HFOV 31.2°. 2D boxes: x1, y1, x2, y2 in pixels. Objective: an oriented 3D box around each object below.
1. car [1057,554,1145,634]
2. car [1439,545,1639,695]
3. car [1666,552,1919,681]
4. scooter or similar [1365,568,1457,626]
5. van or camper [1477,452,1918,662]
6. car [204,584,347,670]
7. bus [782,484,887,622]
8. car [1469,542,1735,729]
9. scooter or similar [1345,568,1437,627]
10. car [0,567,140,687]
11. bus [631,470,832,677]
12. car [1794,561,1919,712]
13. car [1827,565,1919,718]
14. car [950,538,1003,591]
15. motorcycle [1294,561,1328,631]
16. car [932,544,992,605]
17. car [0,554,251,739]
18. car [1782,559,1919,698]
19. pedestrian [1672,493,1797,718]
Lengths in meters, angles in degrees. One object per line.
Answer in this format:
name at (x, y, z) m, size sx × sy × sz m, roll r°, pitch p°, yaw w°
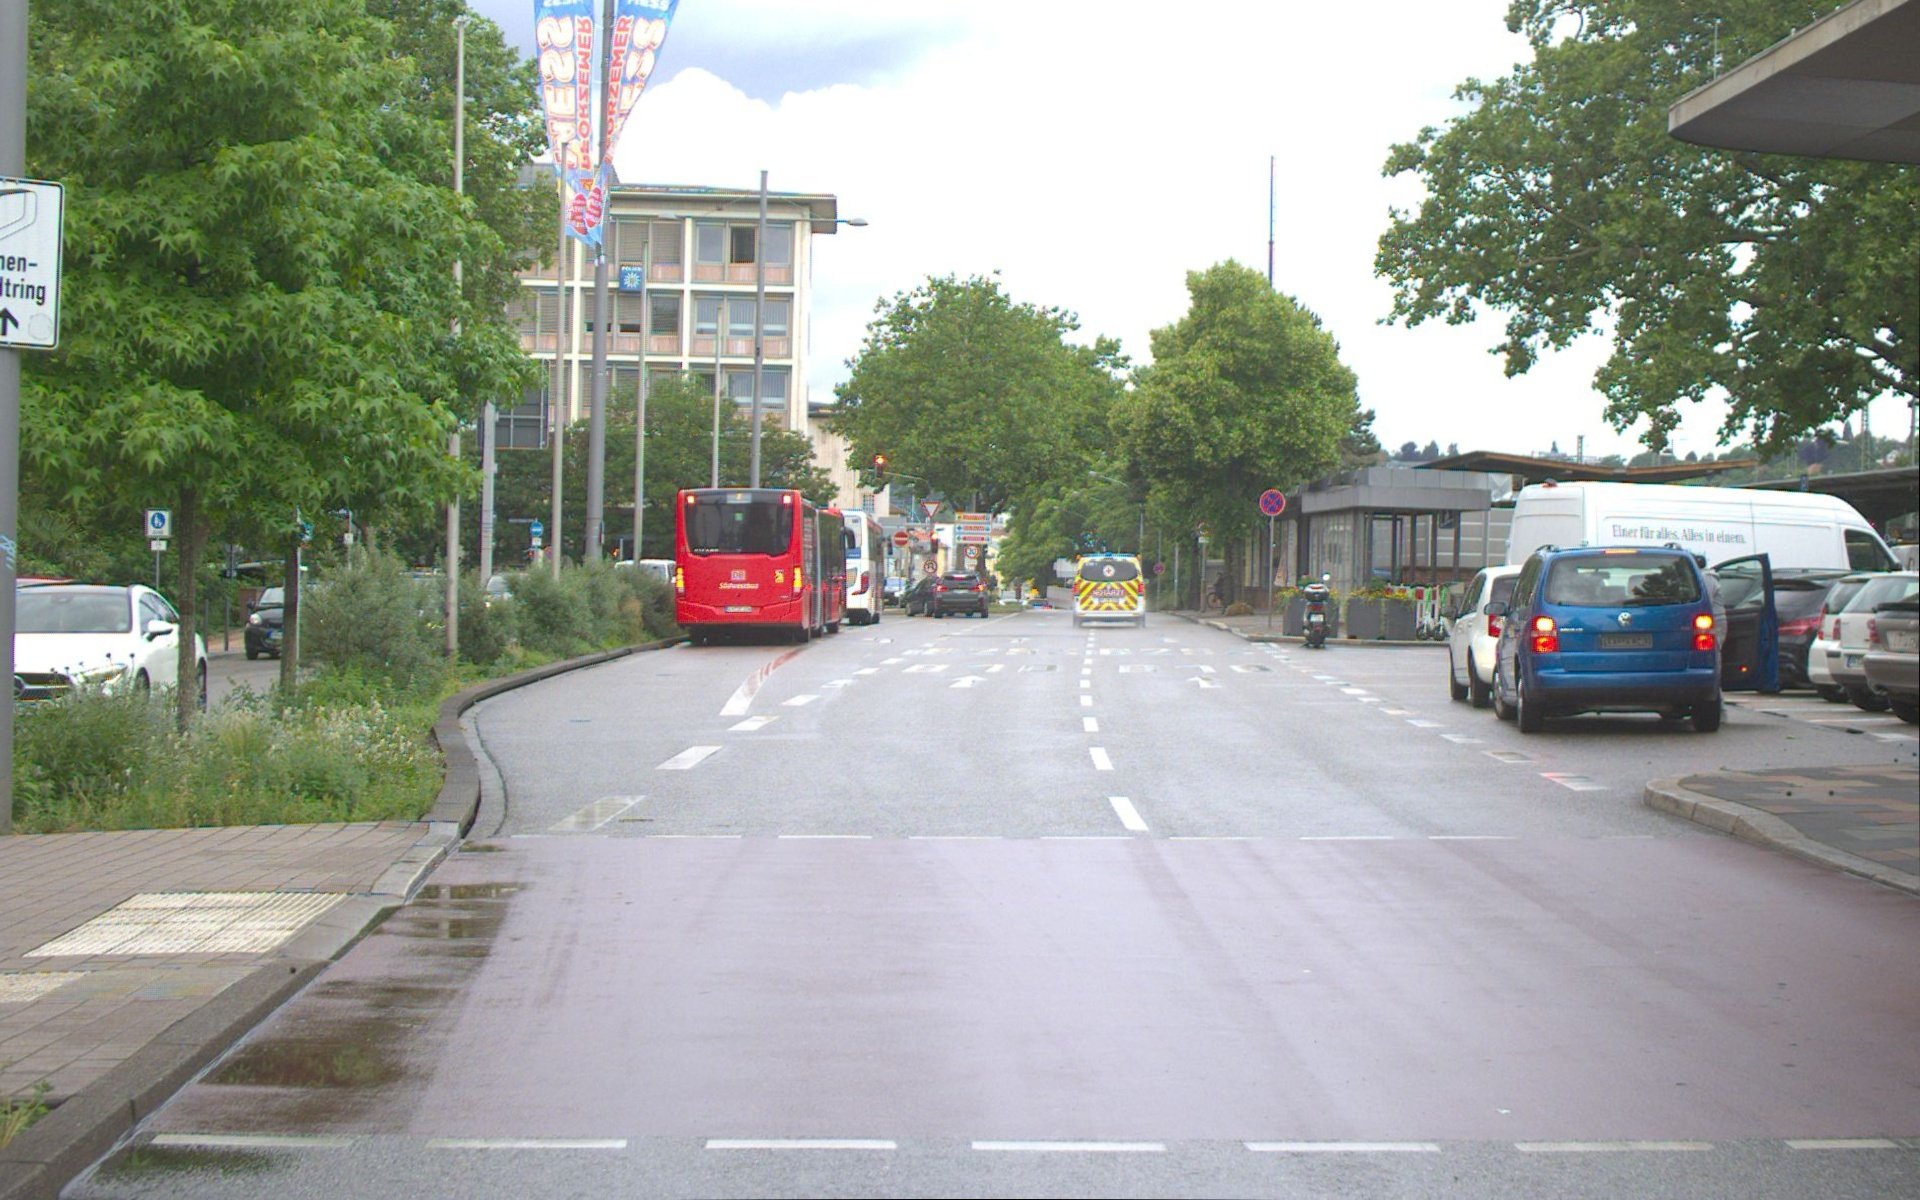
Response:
car at (3.694, -0.189, 91.065) m, size 1.993 × 2.007 × 5.062 m, roll -1°, pitch 1°, yaw -1°
car at (6.162, 0.199, 36.913) m, size 1.788 × 1.517 × 3.681 m, roll 0°, pitch 0°, yaw 4°
car at (10.420, 0.175, 40.056) m, size 3.986 × 1.438 × 1.865 m, roll 0°, pitch 0°, yaw -27°
scooter or similar at (8.865, -0.064, 67.541) m, size 2.145 × 1.106 × 0.443 m, roll -2°, pitch 1°, yaw -39°
van or camper at (10.384, -0.632, 48.300) m, size 5.946 × 2.753 × 2.199 m, roll -2°, pitch 1°, yaw -27°
car at (-12.226, 0.459, 61.591) m, size 1.747 × 1.425 × 3.953 m, roll -1°, pitch 1°, yaw 0°
bus at (-3.628, -1.339, 99.365) m, size 2.805 × 3.734 × 10.446 m, roll -1°, pitch 1°, yaw -2°
car at (5.699, 0.294, 30.957) m, size 1.859 × 1.564 × 3.999 m, roll 0°, pitch 0°, yaw 3°
scooter or similar at (8.518, -0.056, 67.908) m, size 2.145 × 1.106 × 0.427 m, roll -2°, pitch 1°, yaw -39°
car at (-11.702, 0.316, 43.381) m, size 1.747 × 1.425 × 3.953 m, roll -1°, pitch 1°, yaw 0°
bus at (-4.697, -0.583, 73.098) m, size 3.545 × 3.966 × 11.172 m, roll -1°, pitch 1°, yaw -1°
car at (10.519, 0.334, 34.358) m, size 3.986 × 1.438 × 1.865 m, roll 0°, pitch 0°, yaw -27°
car at (10.083, 0.354, 31.509) m, size 3.987 × 1.354 × 1.865 m, roll 0°, pitch 0°, yaw -31°
car at (0.630, -1.380, 134.088) m, size 1.993 × 2.007 × 4.000 m, roll -1°, pitch 1°, yaw 0°
motorcycle at (6.652, -0.092, 65.190) m, size 0.595 × 1.284 × 1.953 m, roll -1°, pitch 1°, yaw 5°
car at (0.062, -0.893, 118.571) m, size 1.993 × 2.007 × 4.000 m, roll -1°, pitch 1°, yaw 0°
car at (-7.978, 0.381, 31.469) m, size 1.993 × 1.538 × 4.633 m, roll -1°, pitch 1°, yaw 0°
car at (11.126, 0.282, 37.378) m, size 3.986 × 1.438 × 1.865 m, roll 0°, pitch 0°, yaw -27°
pedestrian at (7.059, 0.045, 31.359) m, size 0.831 × 2.007 × 0.889 m, roll -2°, pitch 0°, yaw -5°
